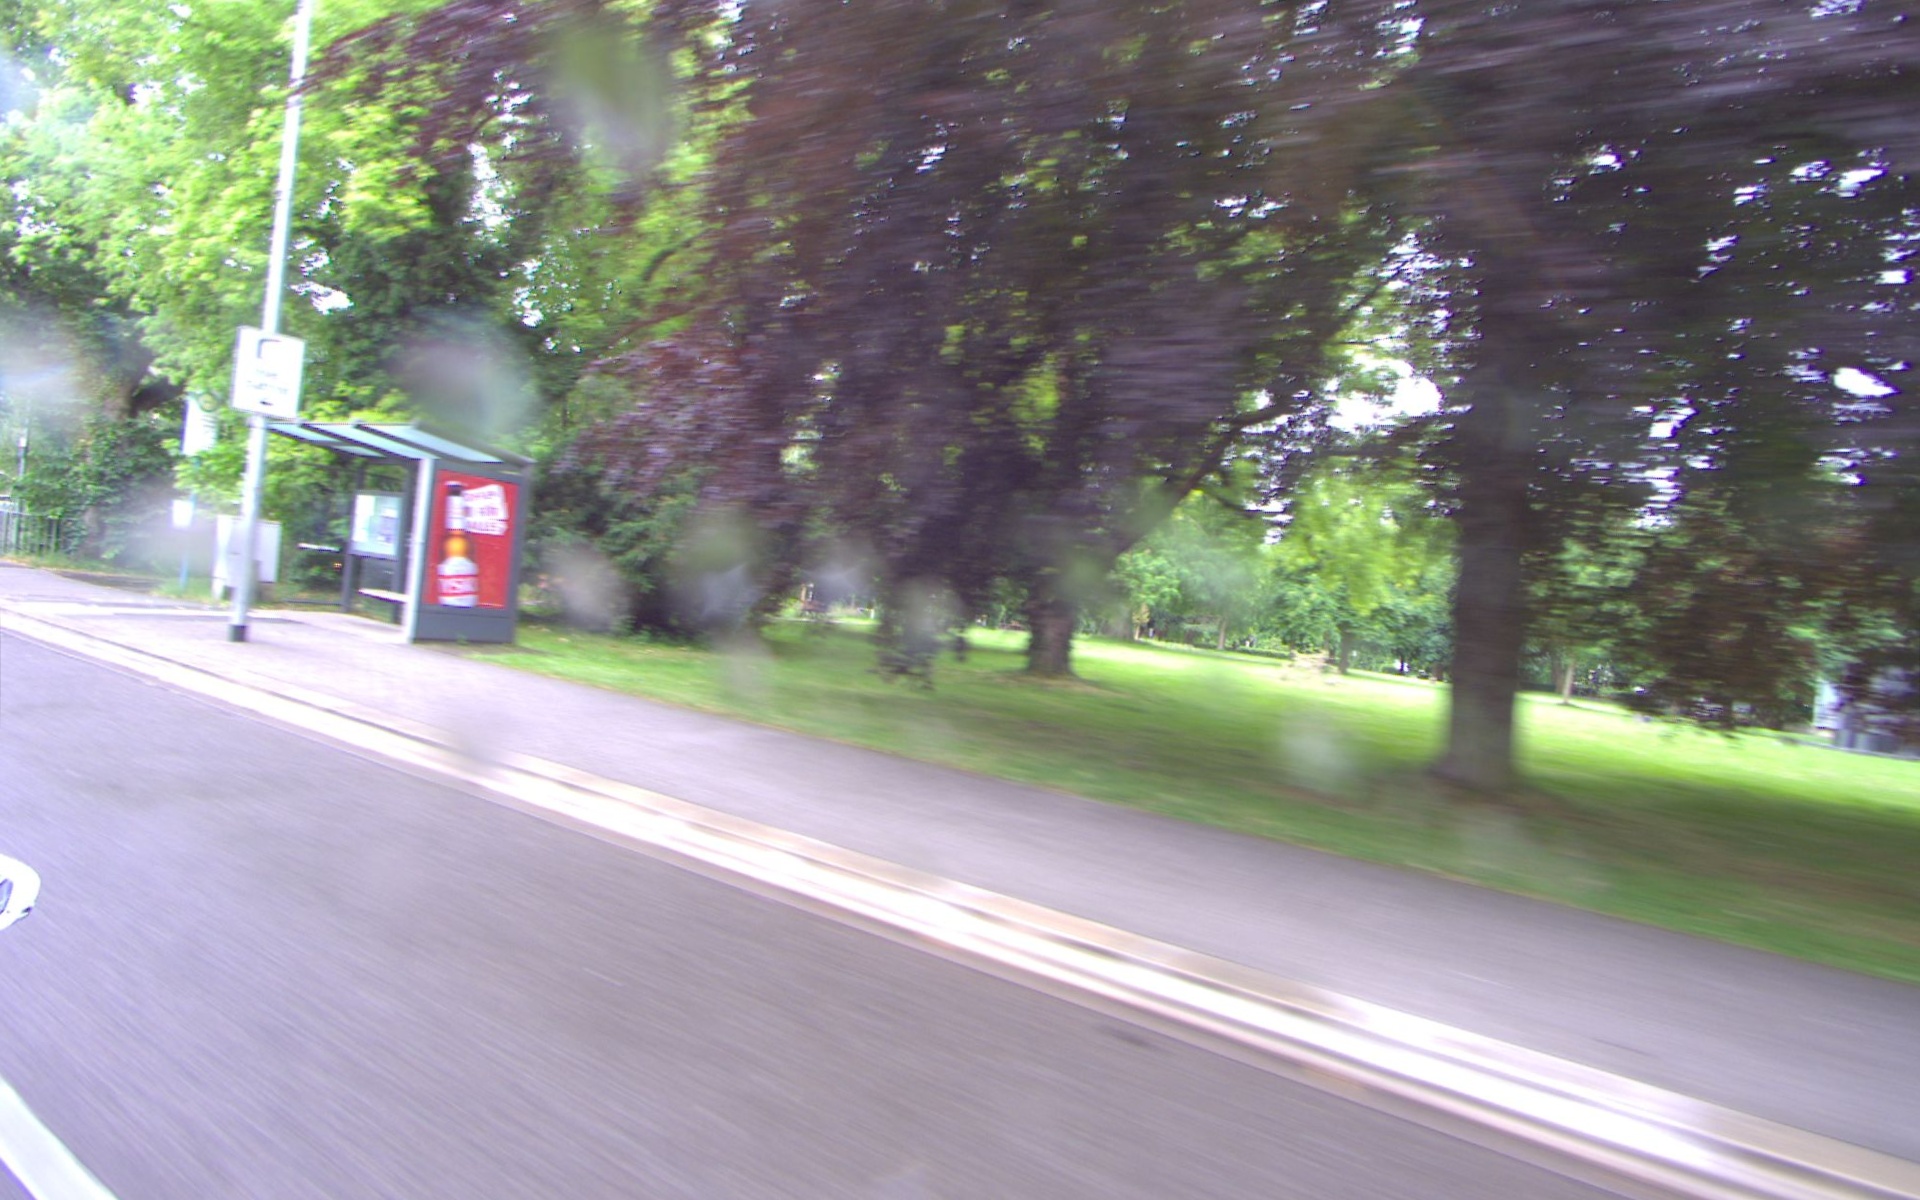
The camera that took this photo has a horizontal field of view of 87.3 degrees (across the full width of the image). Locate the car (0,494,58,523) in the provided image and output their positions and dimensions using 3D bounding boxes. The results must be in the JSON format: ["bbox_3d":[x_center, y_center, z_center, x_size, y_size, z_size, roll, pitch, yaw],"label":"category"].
[{"bbox_3d":[-60.986,-5.981,64.405,1.782,1.393,4.455,9,0,15],"label":"car"}]

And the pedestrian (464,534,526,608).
[{"bbox_3d":[-12.000,-0.734,25.982,0.768,1.774,1.059,6,0,27],"label":"pedestrian"}]

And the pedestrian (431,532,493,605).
[{"bbox_3d":[-13.054,-0.811,26.373,0.768,1.774,1.059,6,0,27],"label":"pedestrian"}]
